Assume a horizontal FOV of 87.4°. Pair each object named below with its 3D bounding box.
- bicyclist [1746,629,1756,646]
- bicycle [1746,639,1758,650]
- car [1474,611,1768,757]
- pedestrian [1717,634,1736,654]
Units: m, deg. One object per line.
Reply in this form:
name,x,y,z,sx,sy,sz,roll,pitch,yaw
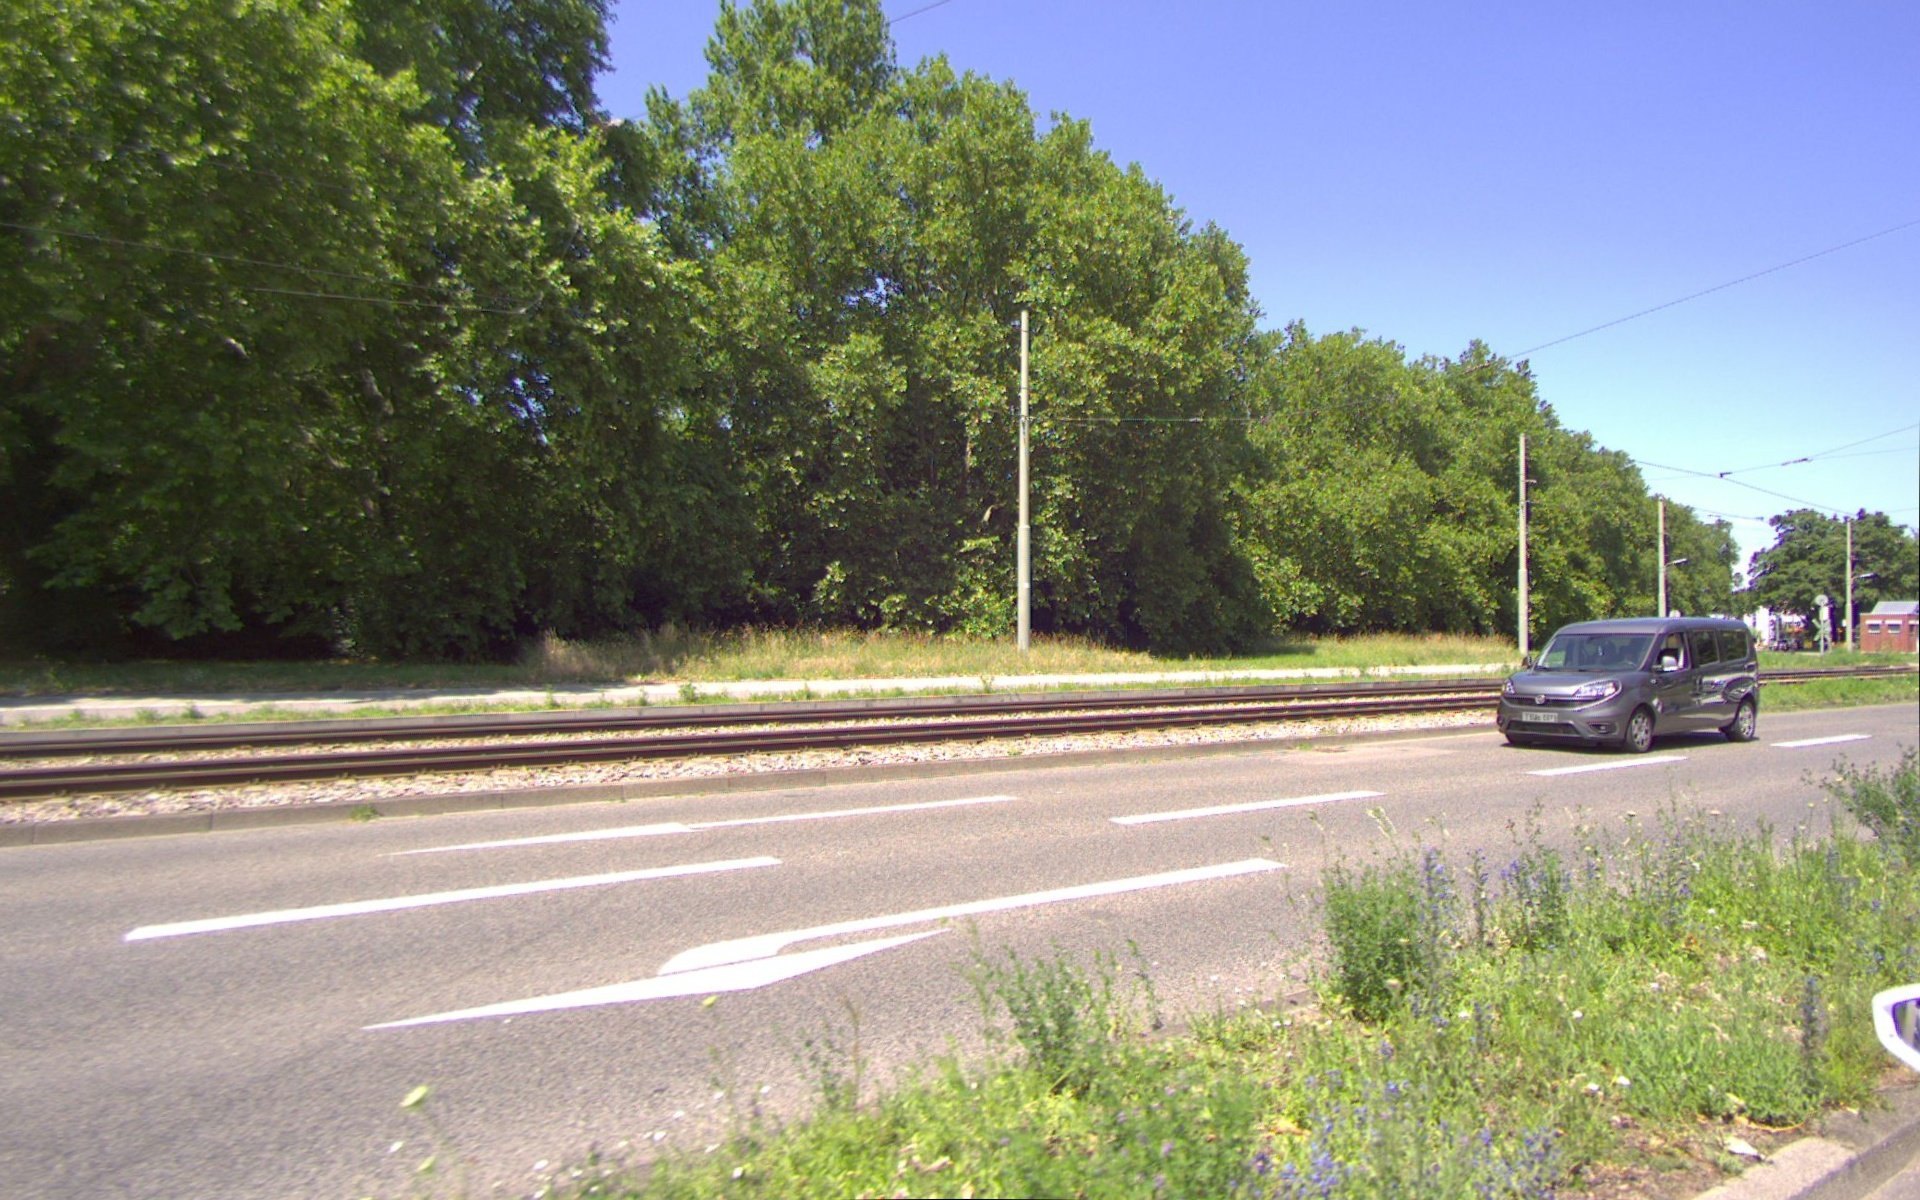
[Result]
bicyclist,65.136,3.079,82.721,0.675,1.353,0.504,2,-1,-40
bicycle,65.258,3.687,82.782,1.553,0.913,0.503,2,-1,-40
car,9.670,1.142,14.608,4.563,1.825,1.820,1,-3,-32
pedestrian,66.773,3.802,87.528,1.245,1.724,0.518,1,-1,11
